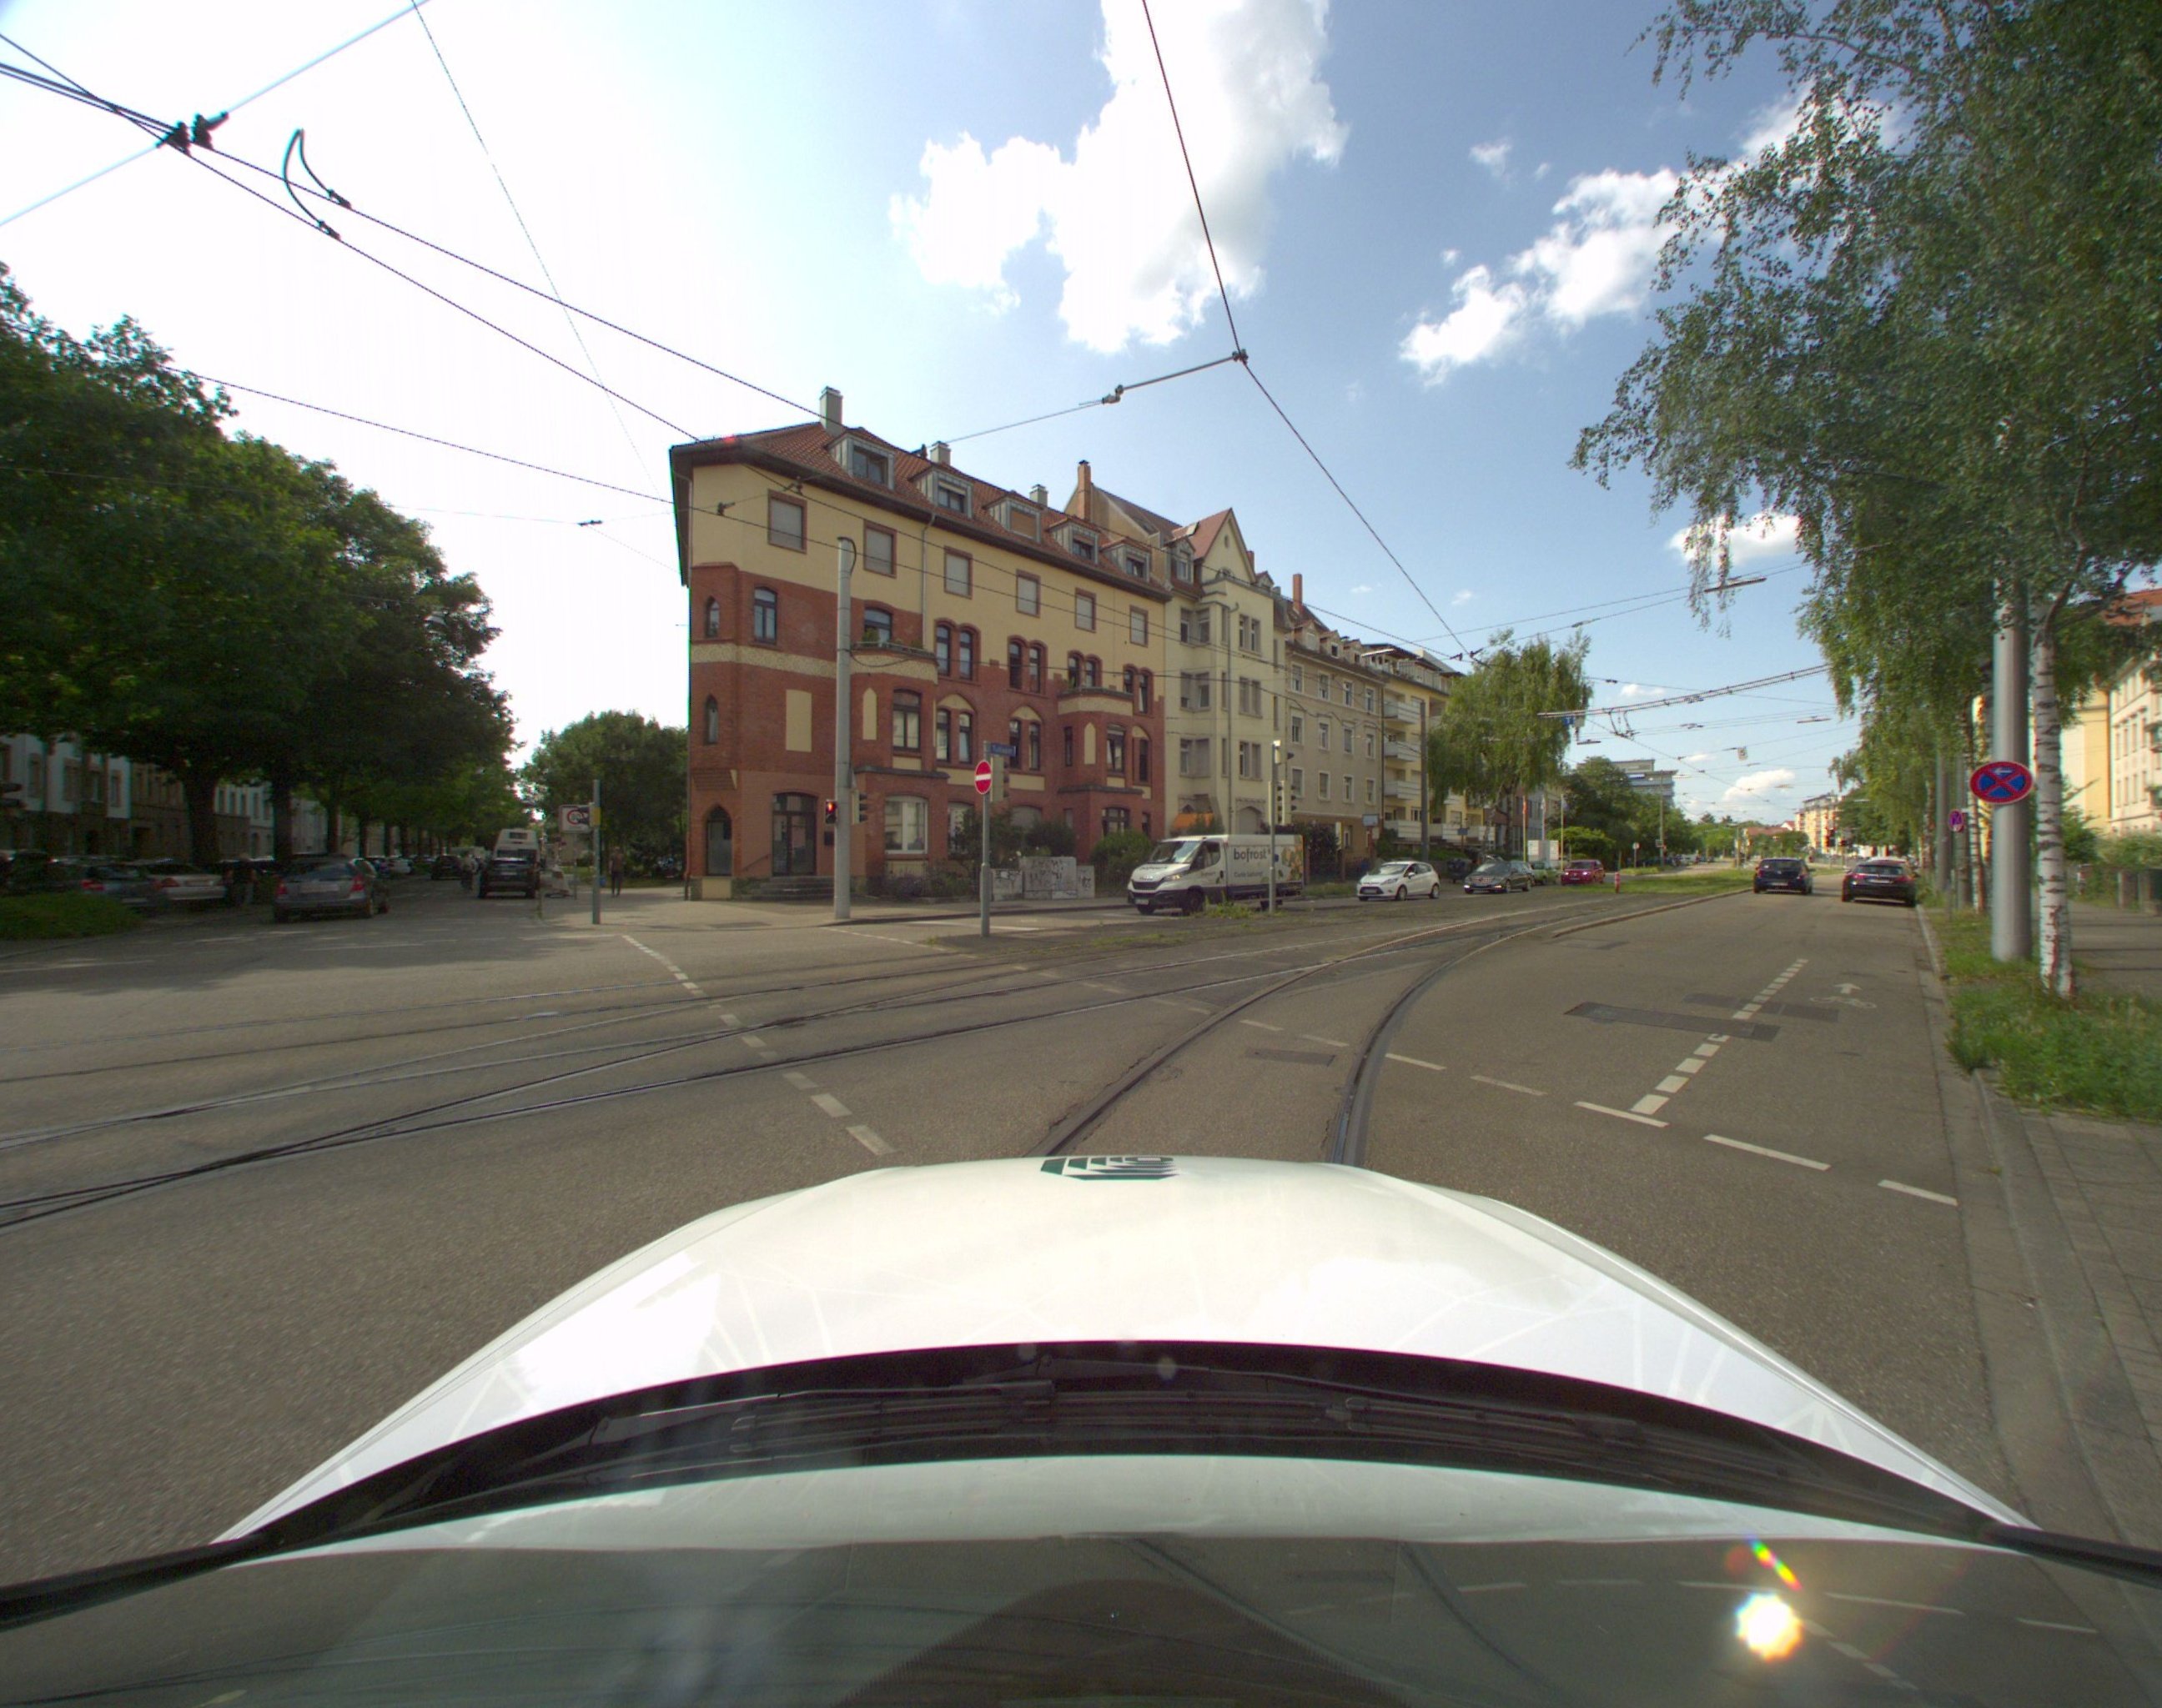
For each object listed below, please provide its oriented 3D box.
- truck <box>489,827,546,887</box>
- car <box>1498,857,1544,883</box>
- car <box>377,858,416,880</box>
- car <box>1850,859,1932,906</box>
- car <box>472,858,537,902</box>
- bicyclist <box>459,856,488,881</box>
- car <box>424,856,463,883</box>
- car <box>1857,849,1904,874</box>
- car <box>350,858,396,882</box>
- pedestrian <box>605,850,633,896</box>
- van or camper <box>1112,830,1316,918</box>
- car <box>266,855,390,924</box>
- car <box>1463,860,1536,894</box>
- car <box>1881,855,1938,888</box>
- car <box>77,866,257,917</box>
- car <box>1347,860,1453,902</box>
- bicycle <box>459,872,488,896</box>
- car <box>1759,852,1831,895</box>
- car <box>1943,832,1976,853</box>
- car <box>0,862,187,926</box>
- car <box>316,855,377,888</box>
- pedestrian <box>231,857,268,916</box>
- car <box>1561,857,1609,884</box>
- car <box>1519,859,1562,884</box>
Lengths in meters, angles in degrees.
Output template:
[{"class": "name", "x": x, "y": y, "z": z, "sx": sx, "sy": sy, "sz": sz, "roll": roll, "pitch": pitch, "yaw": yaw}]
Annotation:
[{"class": "truck", "x": -29.754, "y": 0.144, "z": 43.103, "sx": 2.136, "sy": 2.970, "sz": 3.962, "roll": -1, "pitch": 0, "yaw": -30}, {"class": "car", "x": 24.796, "y": 0.858, "z": 45.838, "sx": 1.548, "sy": 1.386, "sz": 3.207, "roll": 0, "pitch": 0, "yaw": 43}, {"class": "car", "x": -49.369, "y": 1.028, "z": 58.793, "sx": 1.764, "sy": 1.517, "sz": 3.463, "roll": 0, "pitch": 0, "yaw": -33}, {"class": "car", "x": 28.424, "y": 0.957, "z": 28.544, "sx": 3.835, "sy": 1.386, "sz": 1.884, "roll": -1, "pitch": 3, "yaw": -43}, {"class": "car", "x": -22.891, "y": 0.971, "z": 32.439, "sx": 1.763, "sy": 1.633, "sz": 3.466, "roll": 0, "pitch": 0, "yaw": -30}, {"class": "bicyclist", "x": -27.271, "y": 0.627, "z": 36.576, "sx": 0.841, "sy": 1.082, "sz": 1.387, "roll": -1, "pitch": 0, "yaw": -30}, {"class": "car", "x": -42.743, "y": 1.011, "z": 54.685, "sx": 1.734, "sy": 1.706, "sz": 3.639, "roll": -1, "pitch": 0, "yaw": -33}, {"class": "car", "x": 48.682, "y": 0.430, "z": 49.550, "sx": 3.835, "sy": 1.386, "sz": 1.884, "roll": -1, "pitch": 3, "yaw": -43}, {"class": "car", "x": -45.842, "y": 1.015, "z": 52.796, "sx": 1.764, "sy": 1.517, "sz": 3.463, "roll": 0, "pitch": 0, "yaw": -33}, {"class": "pedestrian", "x": -16.962, "y": 0.697, "z": 29.917, "sx": 0.874, "sy": 1.656, "sz": 0.729, "roll": 0, "pitch": 0, "yaw": -29}, {"class": "van or camper", "x": 4.080, "y": 0.519, "z": 23.914, "sx": 6.579, "sy": 2.254, "sz": 2.221, "roll": 0, "pitch": 0, "yaw": -41}, {"class": "car", "x": -19.384, "y": 0.847, "z": 21.136, "sx": 1.734, "sy": 1.605, "sz": 3.639, "roll": -1, "pitch": 0, "yaw": -33}, {"class": "car", "x": 18.627, "y": 0.974, "z": 36.197, "sx": 2.207, "sy": 1.371, "sz": 4.005, "roll": 0, "pitch": 0, "yaw": 37}, {"class": "car", "x": 40.740, "y": 0.819, "z": 40.030, "sx": 3.835, "sy": 1.386, "sz": 1.884, "roll": -1, "pitch": 3, "yaw": -43}, {"class": "car", "x": -26.567, "y": 1.052, "z": 23.698, "sx": 3.956, "sy": 1.339, "sz": 1.983, "roll": 0, "pitch": 0, "yaw": 17}, {"class": "car", "x": 11.909, "y": 0.937, "z": 30.304, "sx": 4.039, "sy": 1.439, "sz": 1.914, "roll": 0, "pitch": 0, "yaw": -38}, {"class": "bicycle", "x": -27.235, "y": 1.327, "z": 36.525, "sx": 0.754, "sy": 0.958, "sz": 2.277, "roll": -1, "pitch": 0, "yaw": -30}, {"class": "car", "x": 29.729, "y": 0.774, "z": 33.890, "sx": 3.835, "sy": 1.574, "sz": 1.884, "roll": -1, "pitch": 2, "yaw": -43}, {"class": "car", "x": 77.551, "y": -1.030, "z": 71.902, "sx": 3.835, "sy": 1.797, "sz": 1.884, "roll": -1, "pitch": 3, "yaw": -43}, {"class": "car", "x": -25.783, "y": 0.977, "z": 21.106, "sx": 3.956, "sy": 1.495, "sz": 1.983, "roll": 0, "pitch": 0, "yaw": 17}, {"class": "car", "x": -37.597, "y": 0.866, "z": 41.754, "sx": 1.764, "sy": 1.633, "sz": 3.463, "roll": 0, "pitch": 0, "yaw": -33}, {"class": "pedestrian", "x": -24.885, "y": 0.965, "z": 24.377, "sx": 0.656, "sy": 1.725, "sz": 0.490, "roll": 0, "pitch": 0, "yaw": -30}, {"class": "car", "x": 28.667, "y": 0.912, "z": 46.304, "sx": 1.694, "sy": 1.442, "sz": 3.374, "roll": 0, "pitch": 0, "yaw": 43}, {"class": "car", "x": 27.598, "y": 1.016, "z": 48.833, "sx": 1.548, "sy": 1.386, "sz": 3.207, "roll": 0, "pitch": 0, "yaw": 43}]
